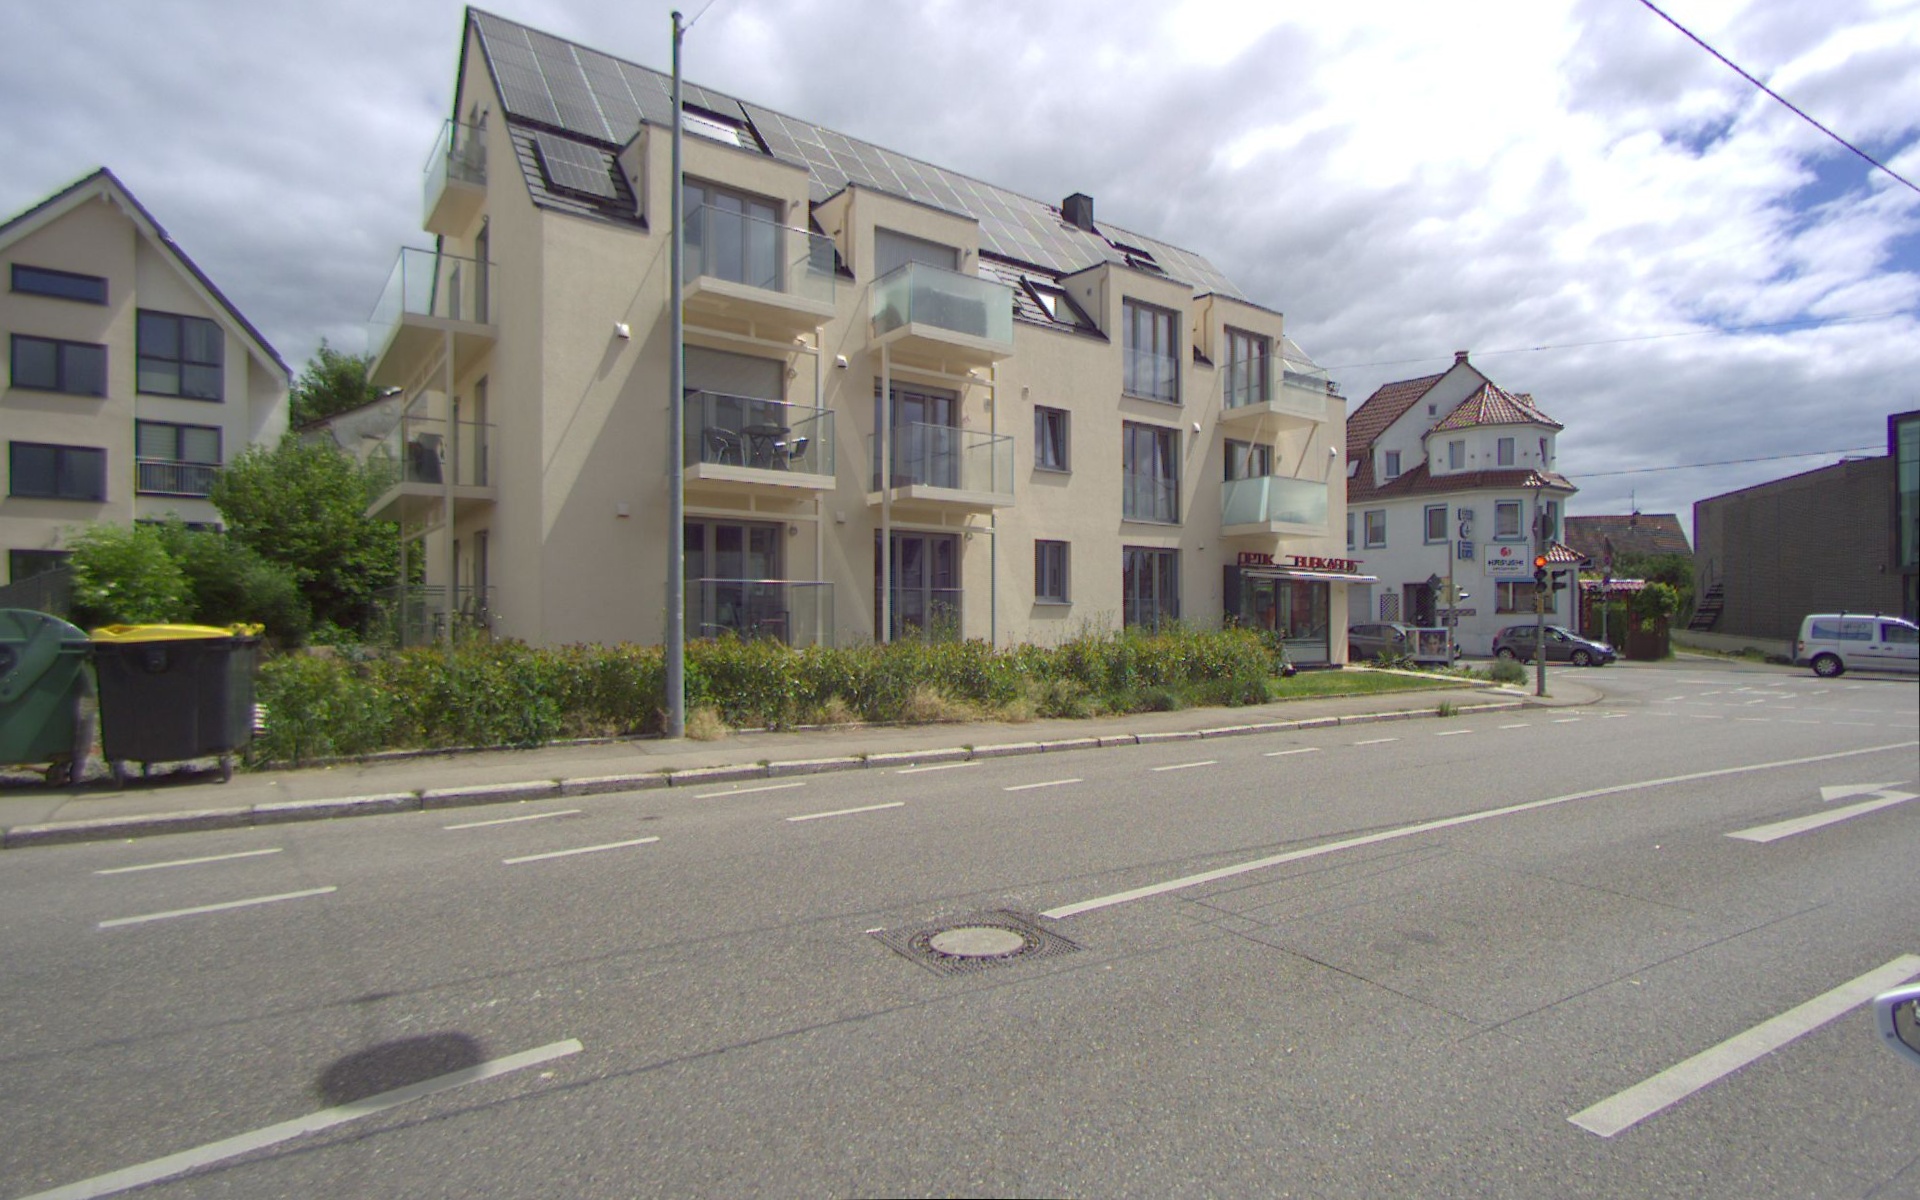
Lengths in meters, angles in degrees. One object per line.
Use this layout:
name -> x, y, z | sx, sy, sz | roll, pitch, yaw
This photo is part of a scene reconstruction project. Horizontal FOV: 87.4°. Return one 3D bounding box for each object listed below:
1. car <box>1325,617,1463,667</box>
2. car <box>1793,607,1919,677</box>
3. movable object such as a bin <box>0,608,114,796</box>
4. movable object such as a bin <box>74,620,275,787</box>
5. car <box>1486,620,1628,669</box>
car -> 15.945, 1.507, 37.024 | 1.984, 1.698, 4.255 | 2, -1, -40
car -> 26.839, 1.213, 29.058 | 1.987, 1.873, 4.020 | 1, 0, -44
movable object such as a bin -> -8.023, 0.823, 8.459 | 1.201, 1.501, 1.059 | 1, -1, -32
movable object such as a bin -> -6.794, 0.846, 8.790 | 1.199, 1.330, 1.061 | 1, -1, -29
car -> 21.223, 1.546, 35.777 | 1.986, 1.506, 3.948 | 1, 0, -44
